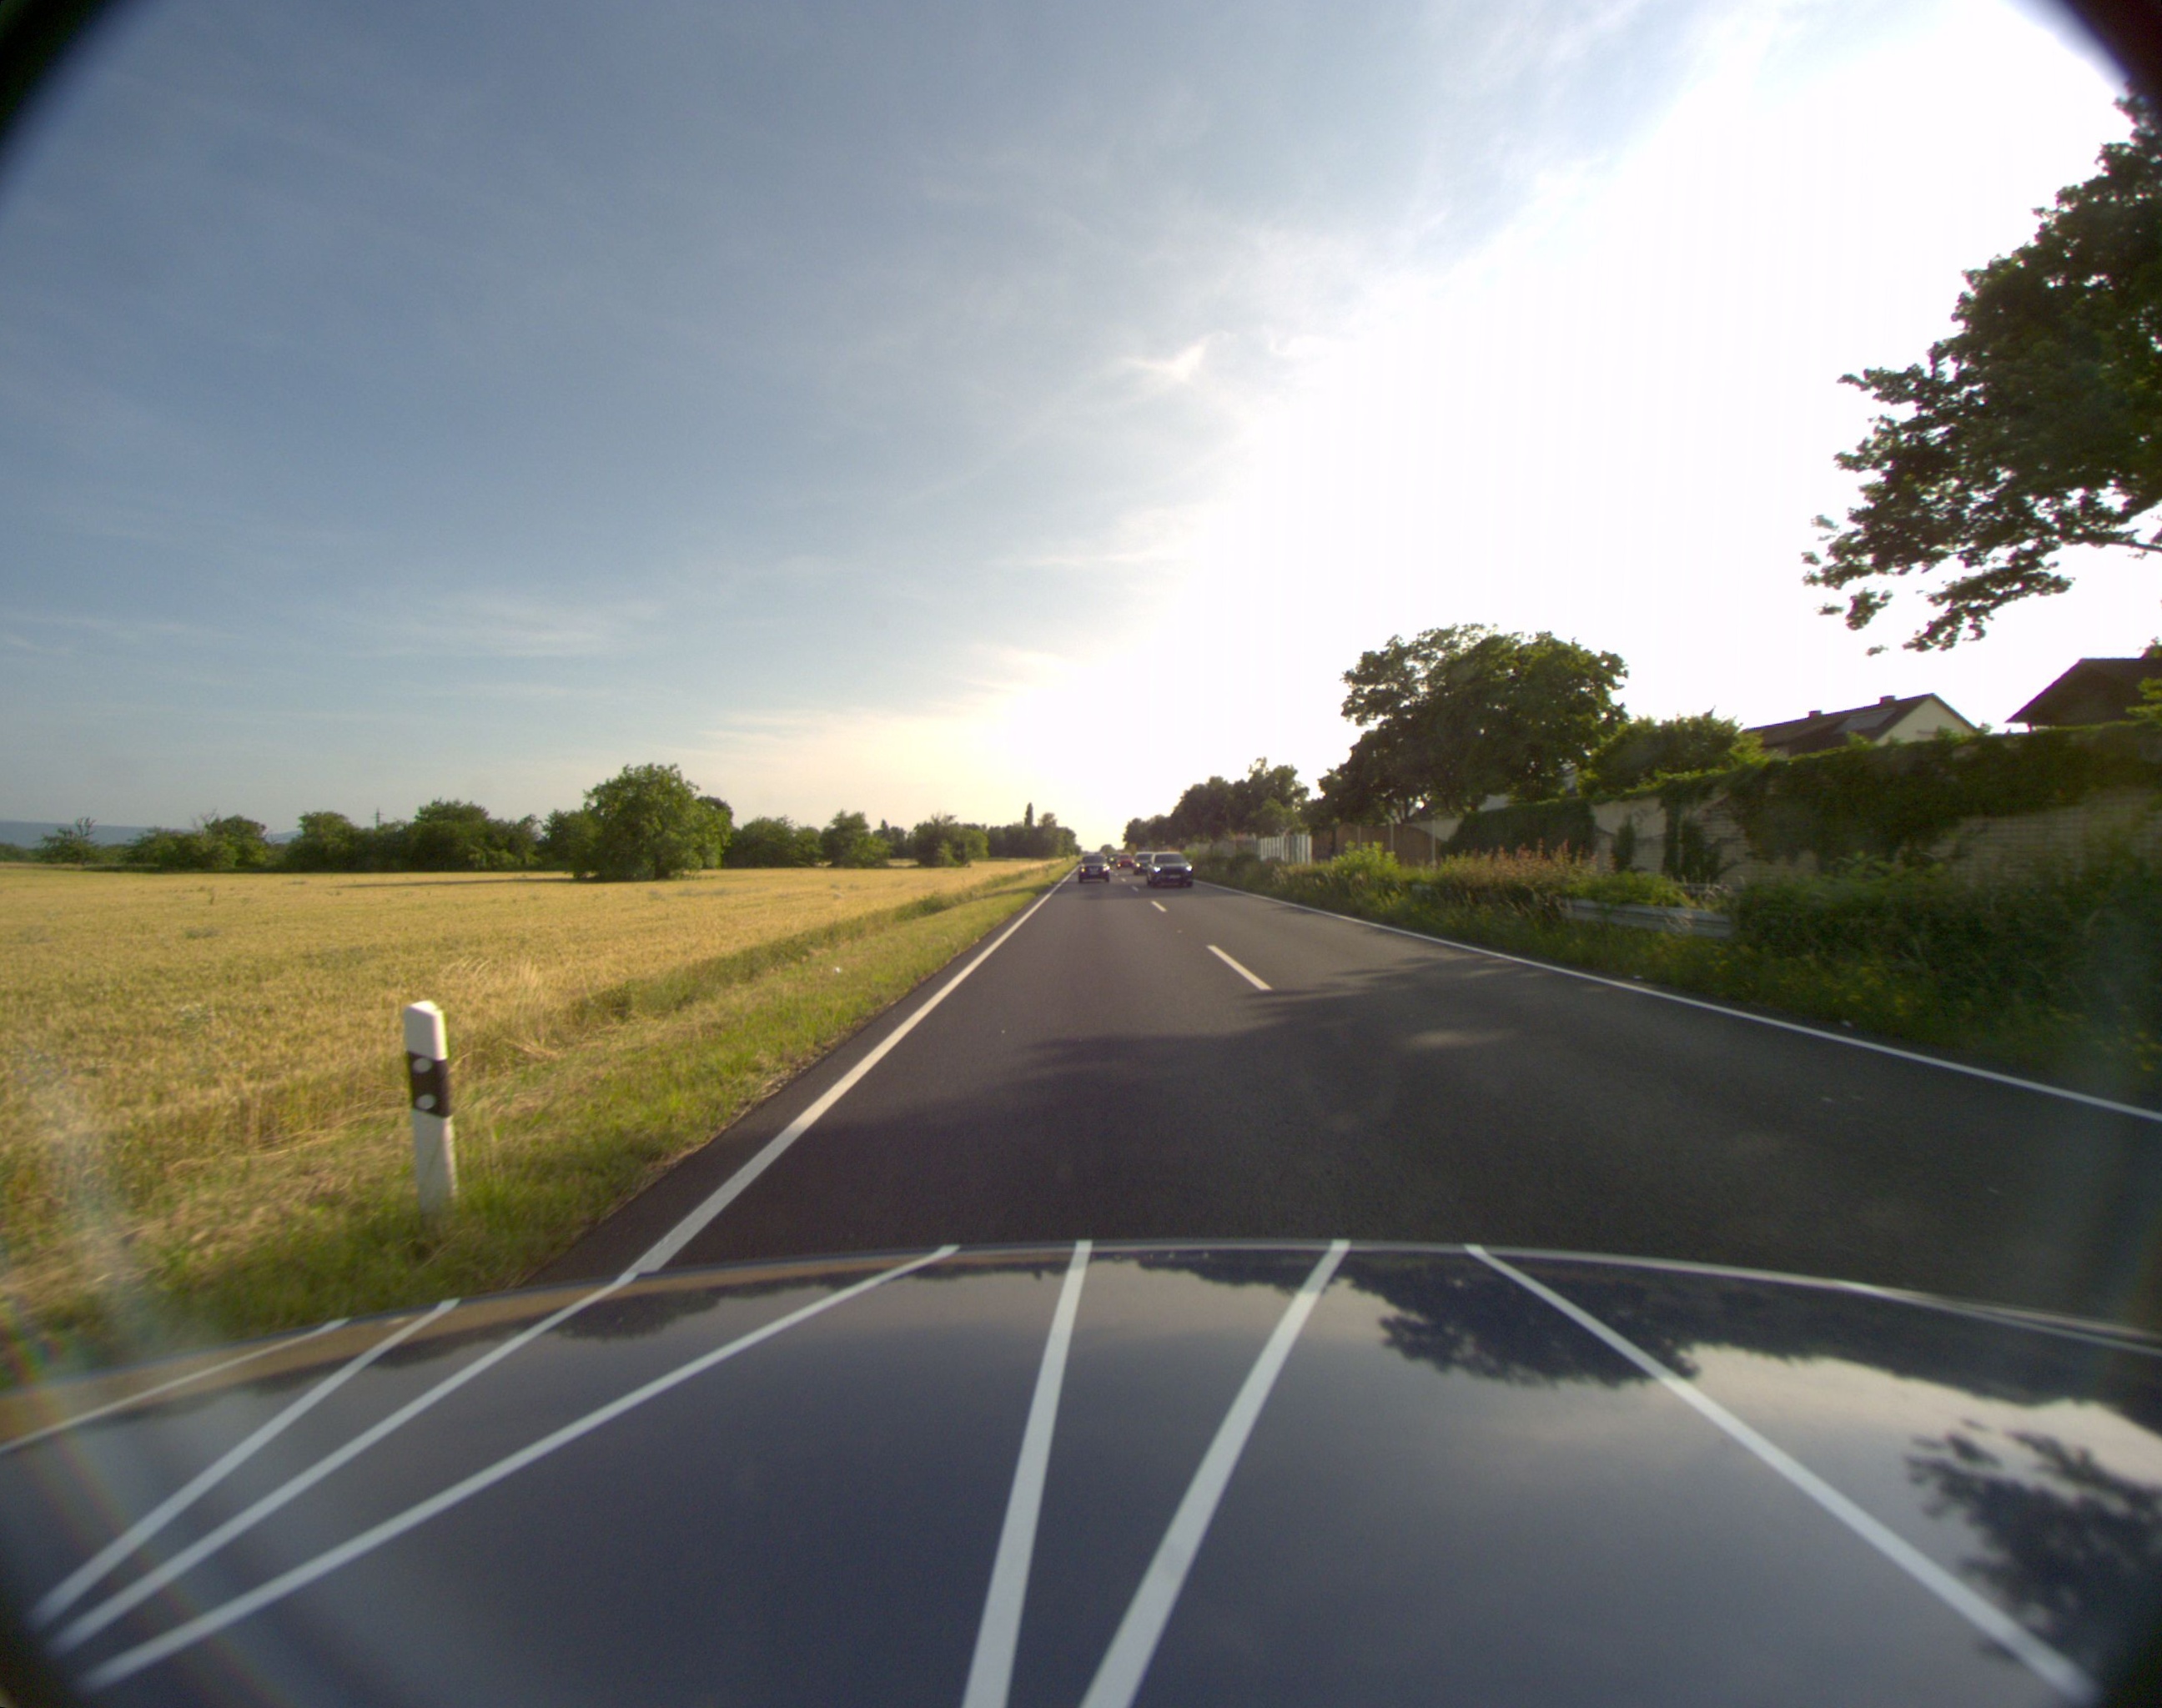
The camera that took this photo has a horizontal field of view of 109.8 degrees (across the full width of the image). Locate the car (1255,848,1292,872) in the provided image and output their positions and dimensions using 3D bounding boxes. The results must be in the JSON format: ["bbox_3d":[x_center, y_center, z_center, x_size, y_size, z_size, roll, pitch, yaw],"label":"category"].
[{"bbox_3d":[15.509,0.446,61.408,1.839,1.844,4.365,-2,1,0],"label":"car"}]

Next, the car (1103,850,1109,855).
[{"bbox_3d":[7.796,-0.562,235.956,1.727,1.525,4.000,-2,1,1],"label":"car"}]

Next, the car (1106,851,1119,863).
[{"bbox_3d":[4.455,0.397,106.748,1.700,1.456,3.646,-2,1,1],"label":"car"}]

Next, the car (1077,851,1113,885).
[{"bbox_3d":[0.785,0.731,42.267,1.822,1.661,3.999,-2,1,1],"label":"car"}]

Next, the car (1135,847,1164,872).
[{"bbox_3d":[5.048,0.375,56.208,1.822,1.724,4.000,-2,1,2],"label":"car"}]

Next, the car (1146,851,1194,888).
[{"bbox_3d":[4.131,0.678,35.875,1.821,1.516,4.246,-2,1,2],"label":"car"}]

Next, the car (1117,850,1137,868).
[{"bbox_3d":[4.761,0.473,78.662,1.822,1.661,4.000,-2,1,1],"label":"car"}]

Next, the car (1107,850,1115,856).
[{"bbox_3d":[6.816,-0.223,171.188,1.693,1.397,3.999,-2,1,1],"label":"car"}]

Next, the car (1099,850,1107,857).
[{"bbox_3d":[5.616,-0.084,192.050,1.854,1.641,3.999,-2,1,1],"label":"car"}]
